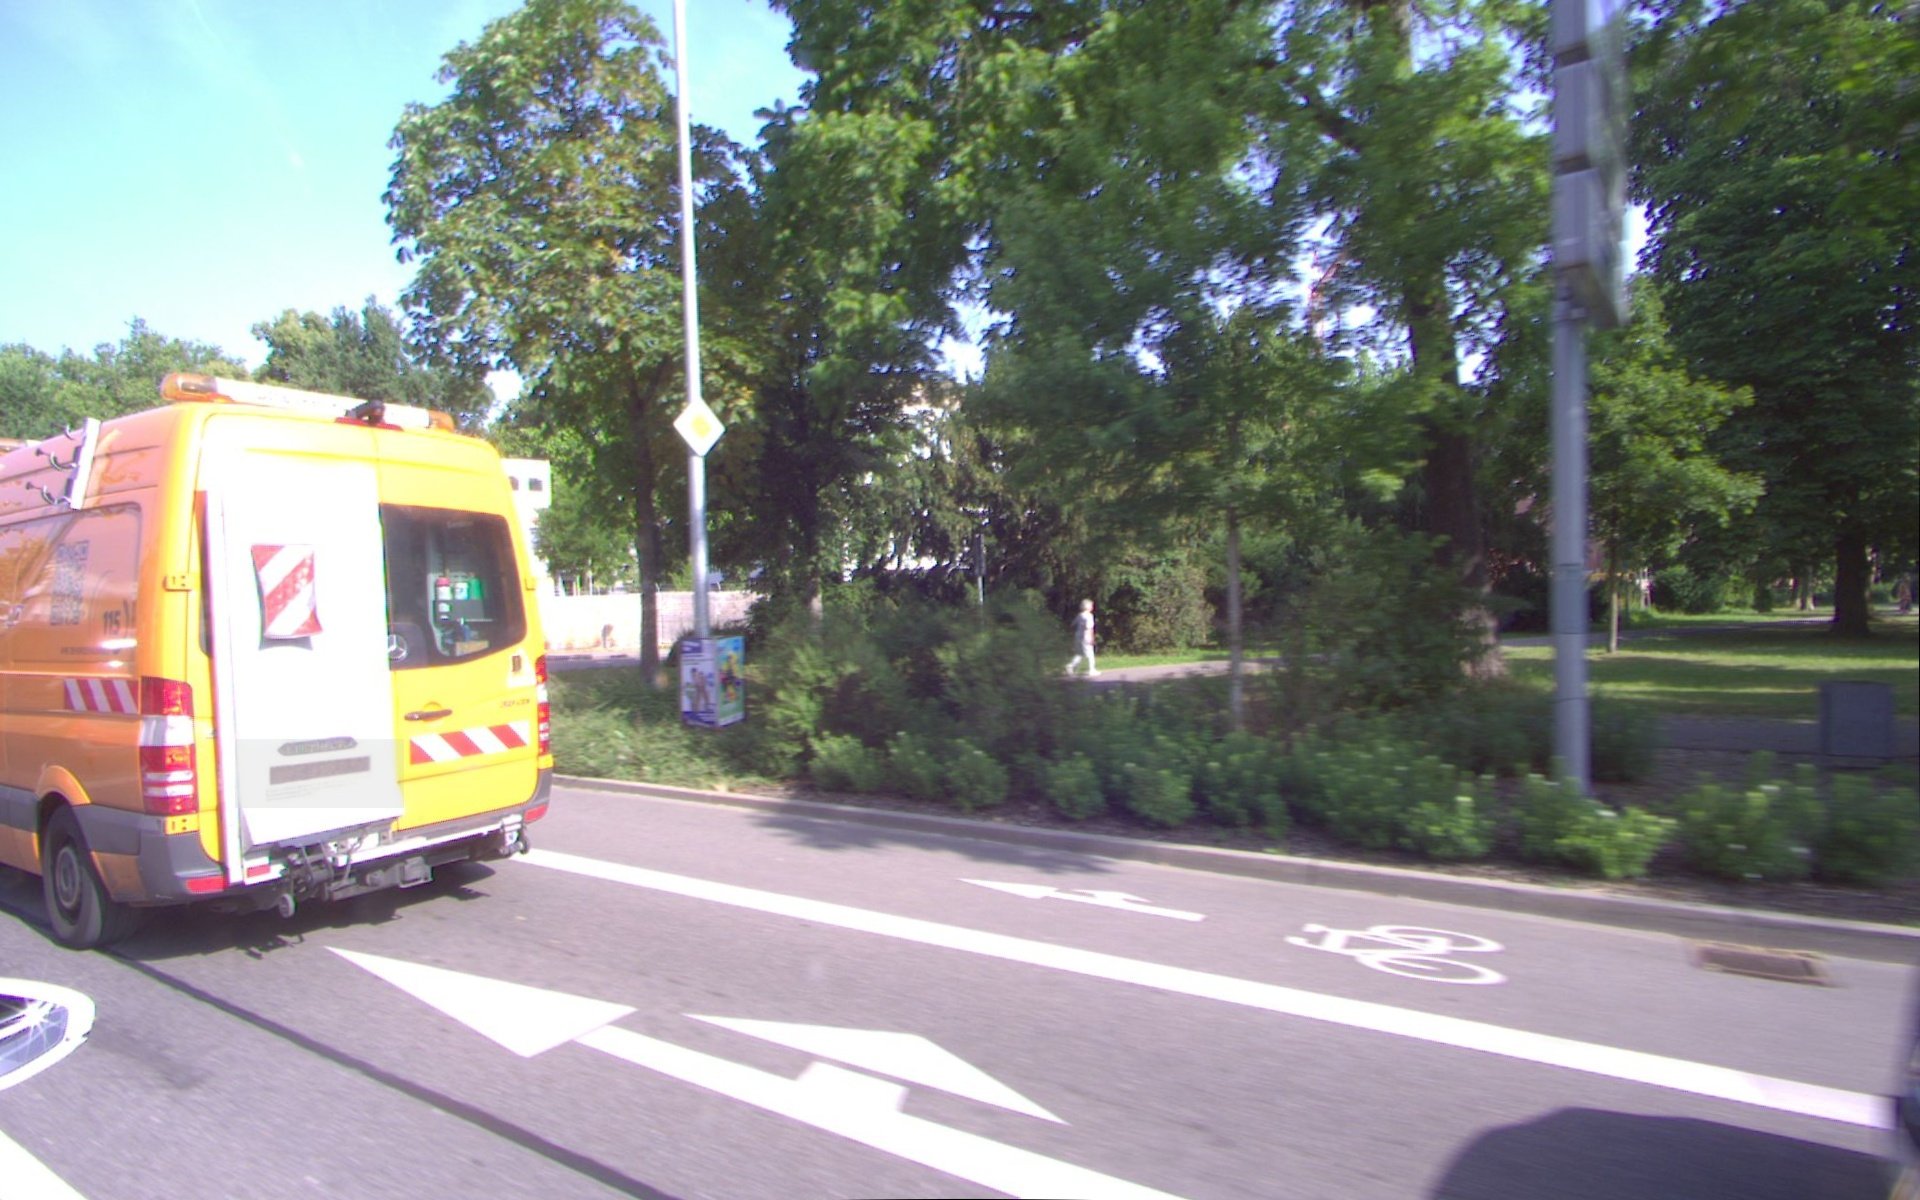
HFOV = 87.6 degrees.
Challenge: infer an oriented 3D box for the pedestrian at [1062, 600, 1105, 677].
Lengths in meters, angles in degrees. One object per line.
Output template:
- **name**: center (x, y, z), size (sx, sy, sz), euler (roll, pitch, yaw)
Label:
- **pedestrian**: center (2.522, 0.776, 20.481), size (0.659, 1.538, 0.532), euler (-1, 1, -26)

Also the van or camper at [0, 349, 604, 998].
- **van or camper**: center (-5.012, 0.387, 6.337), size (5.976, 2.503, 1.982), euler (-2, -2, 33)
